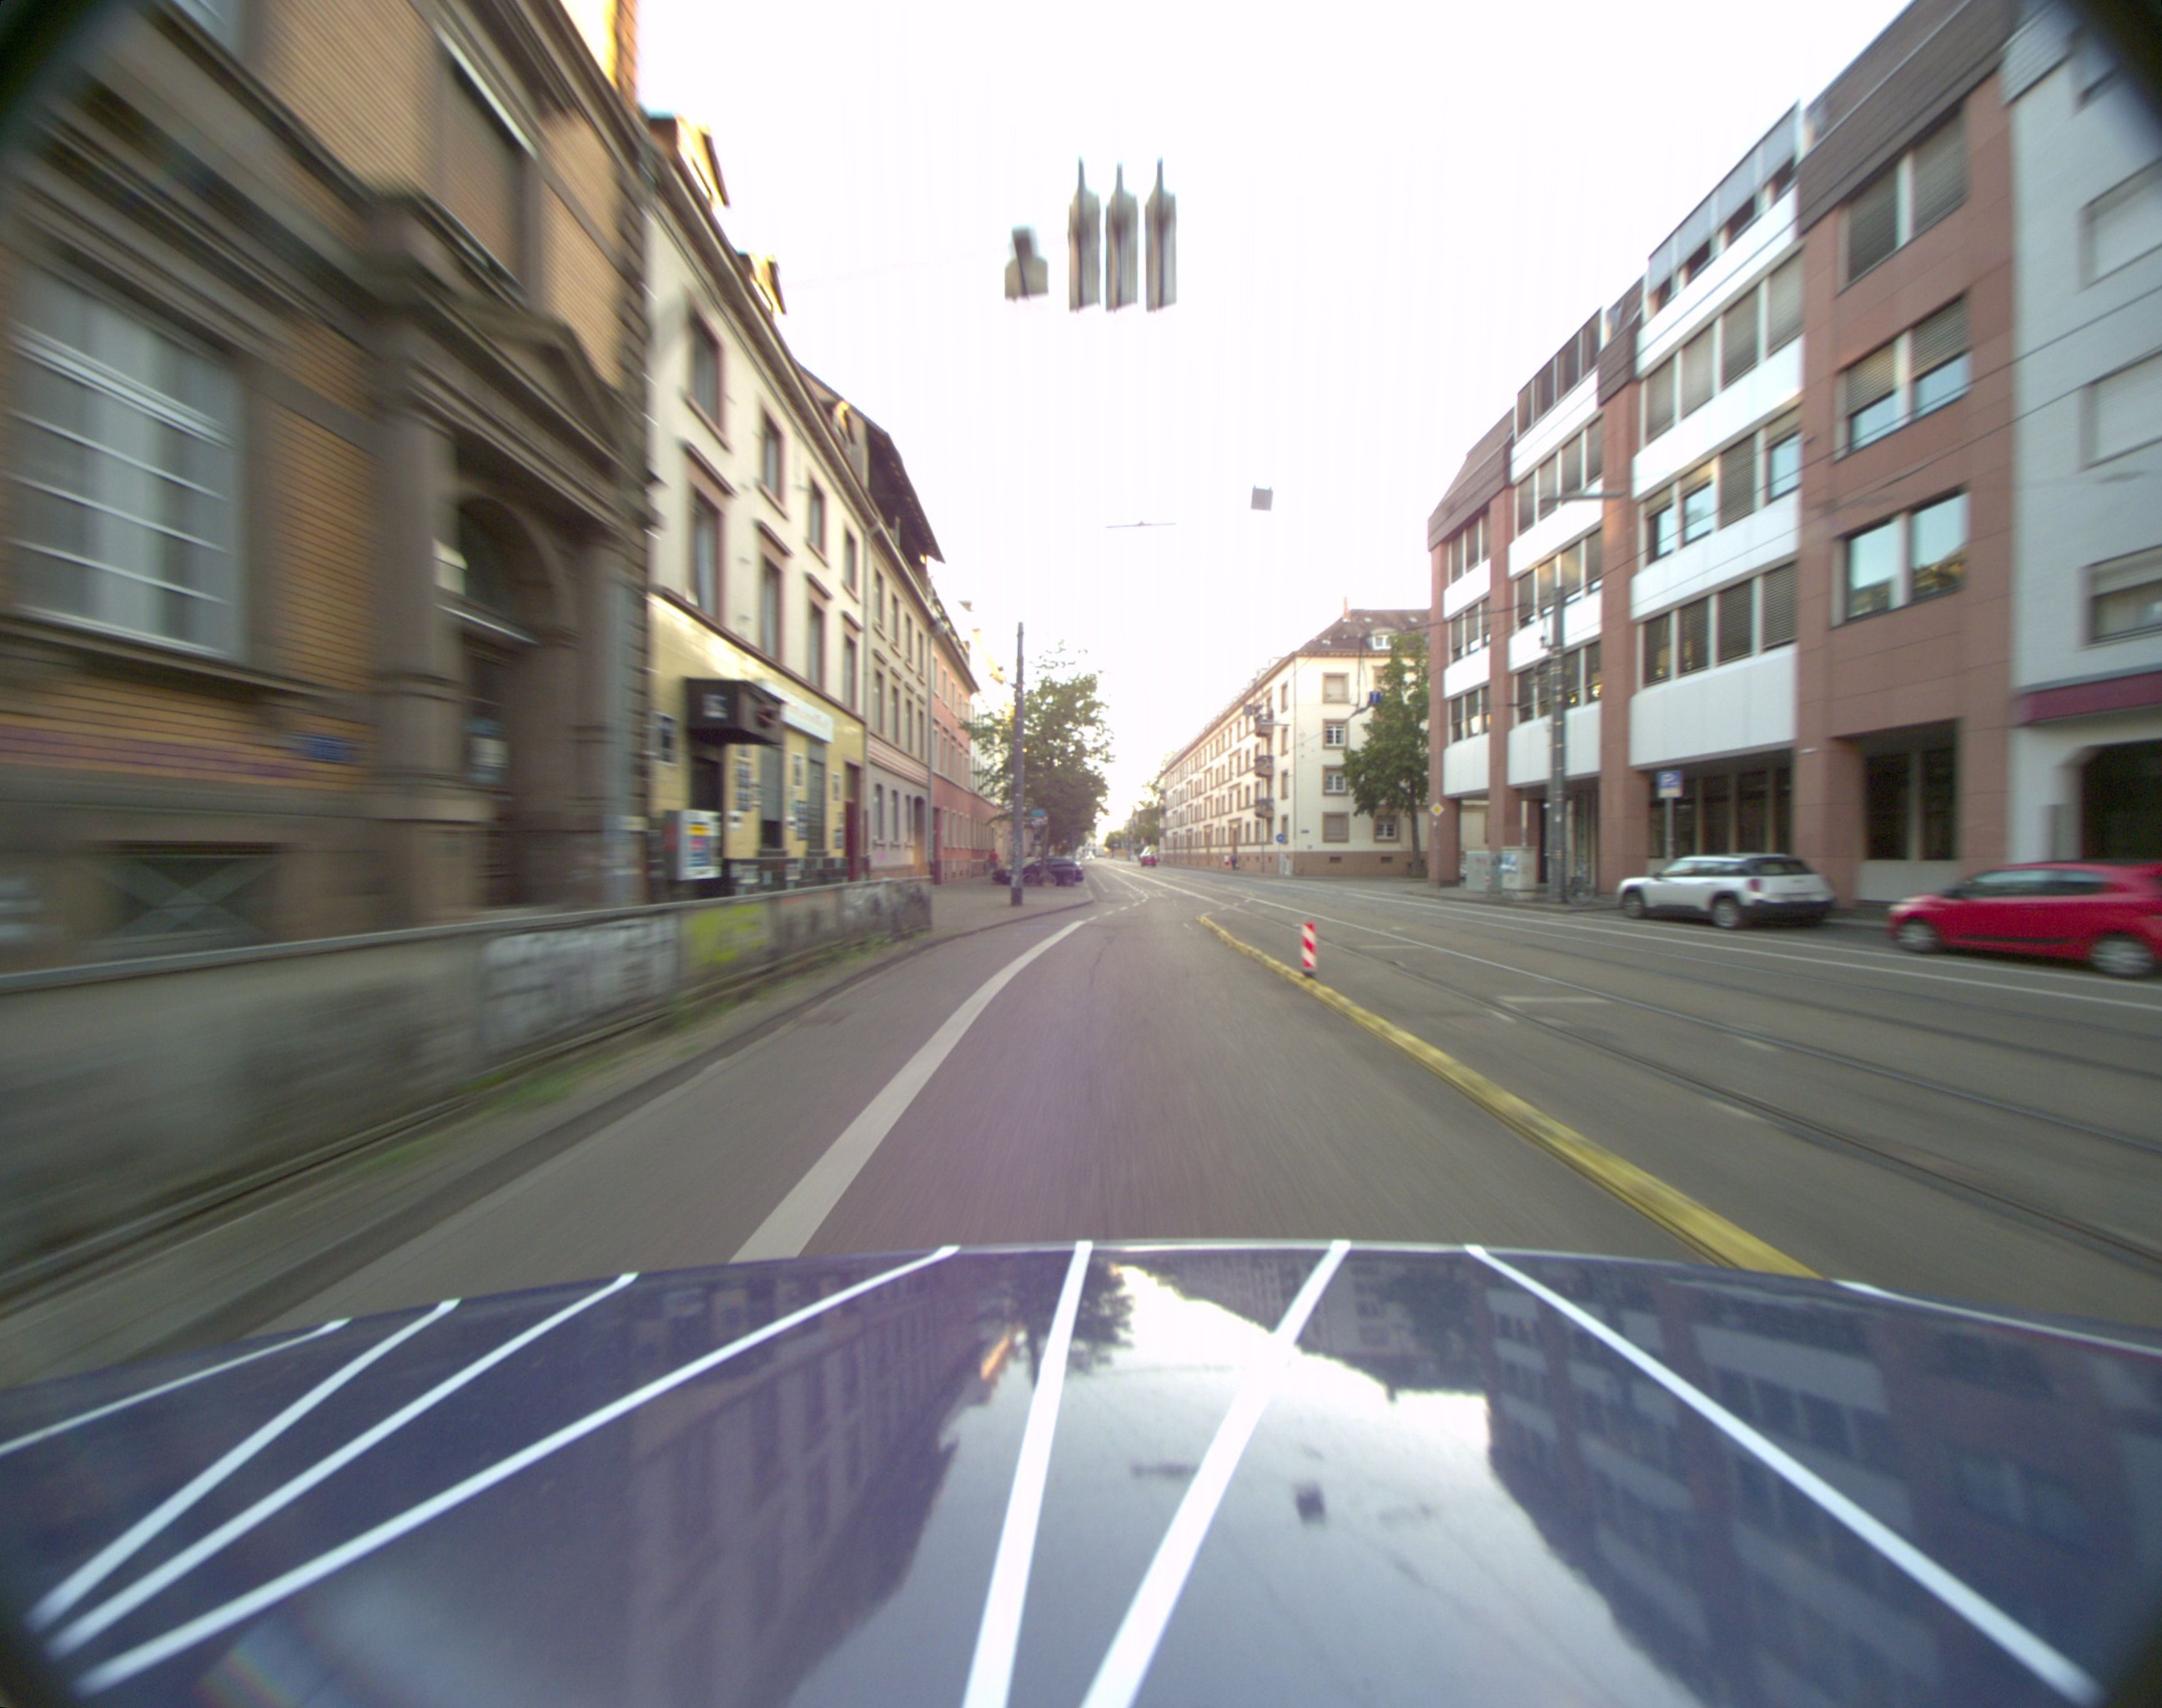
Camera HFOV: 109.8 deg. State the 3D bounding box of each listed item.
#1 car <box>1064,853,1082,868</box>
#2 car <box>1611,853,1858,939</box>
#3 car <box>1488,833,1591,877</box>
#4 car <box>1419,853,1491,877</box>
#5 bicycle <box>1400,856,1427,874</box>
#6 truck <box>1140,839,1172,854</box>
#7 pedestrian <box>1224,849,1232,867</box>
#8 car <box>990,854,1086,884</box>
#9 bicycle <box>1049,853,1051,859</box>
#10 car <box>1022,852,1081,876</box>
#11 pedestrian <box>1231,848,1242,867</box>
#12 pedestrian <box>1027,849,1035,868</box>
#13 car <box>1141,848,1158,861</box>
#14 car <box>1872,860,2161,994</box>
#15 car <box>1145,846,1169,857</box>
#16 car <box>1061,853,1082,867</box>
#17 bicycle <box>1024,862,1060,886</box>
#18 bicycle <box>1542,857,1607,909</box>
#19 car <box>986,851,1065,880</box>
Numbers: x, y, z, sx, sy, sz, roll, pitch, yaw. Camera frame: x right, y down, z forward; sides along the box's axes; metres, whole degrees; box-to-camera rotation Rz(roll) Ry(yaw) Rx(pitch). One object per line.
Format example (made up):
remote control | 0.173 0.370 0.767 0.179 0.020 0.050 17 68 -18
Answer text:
car | -0.752 0.583 70.797 1.623 1.373 3.775 2 0 0
car | 13.774 0.795 16.407 1.721 1.546 4.203 -2 0 0
car | 28.403 0.059 47.392 2.097 2.574 6.126 0 0 -9
car | 23.121 0.632 47.107 2.000 1.414 4.176 0 0 -8
bicycle | 22.396 0.730 51.204 1.685 1.206 0.603 0 1 -18
truck | 17.927 -1.785 181.555 7.078 3.408 2.565 -1 0 -4
pedestrian | 13.489 0.341 69.662 0.592 1.600 0.811 0 1 -3
car | -2.189 0.770 39.115 4.626 1.448 1.707 1 0 -25
bicycle | -6.450 0.369 157.591 0.471 1.203 1.586 -1 0 0
car | -1.973 0.657 50.748 3.572 1.507 1.740 1 0 -25
pedestrian | 14.206 0.286 69.433 0.797 1.691 0.981 0 1 -3
pedestrian | -4.798 0.452 72.678 0.682 1.805 0.600 0 1 0
car | 8.517 0.008 94.790 1.563 1.549 3.754 1 0 -3
car | 13.608 0.877 10.563 1.615 1.471 3.479 -2 0 1
car | 17.660 -0.589 175.898 5.234 2.582 2.229 -1 0 -4
car | -0.925 0.595 76.550 1.784 1.373 4.691 2 0 2
bicycle | -1.886 0.943 36.893 1.694 1.095 0.927 2 0 -1
bicycle | 13.765 0.762 21.285 0.610 1.369 2.259 0 0 8
car | -3.104 0.660 42.601 4.005 1.483 1.826 1 2 -25
